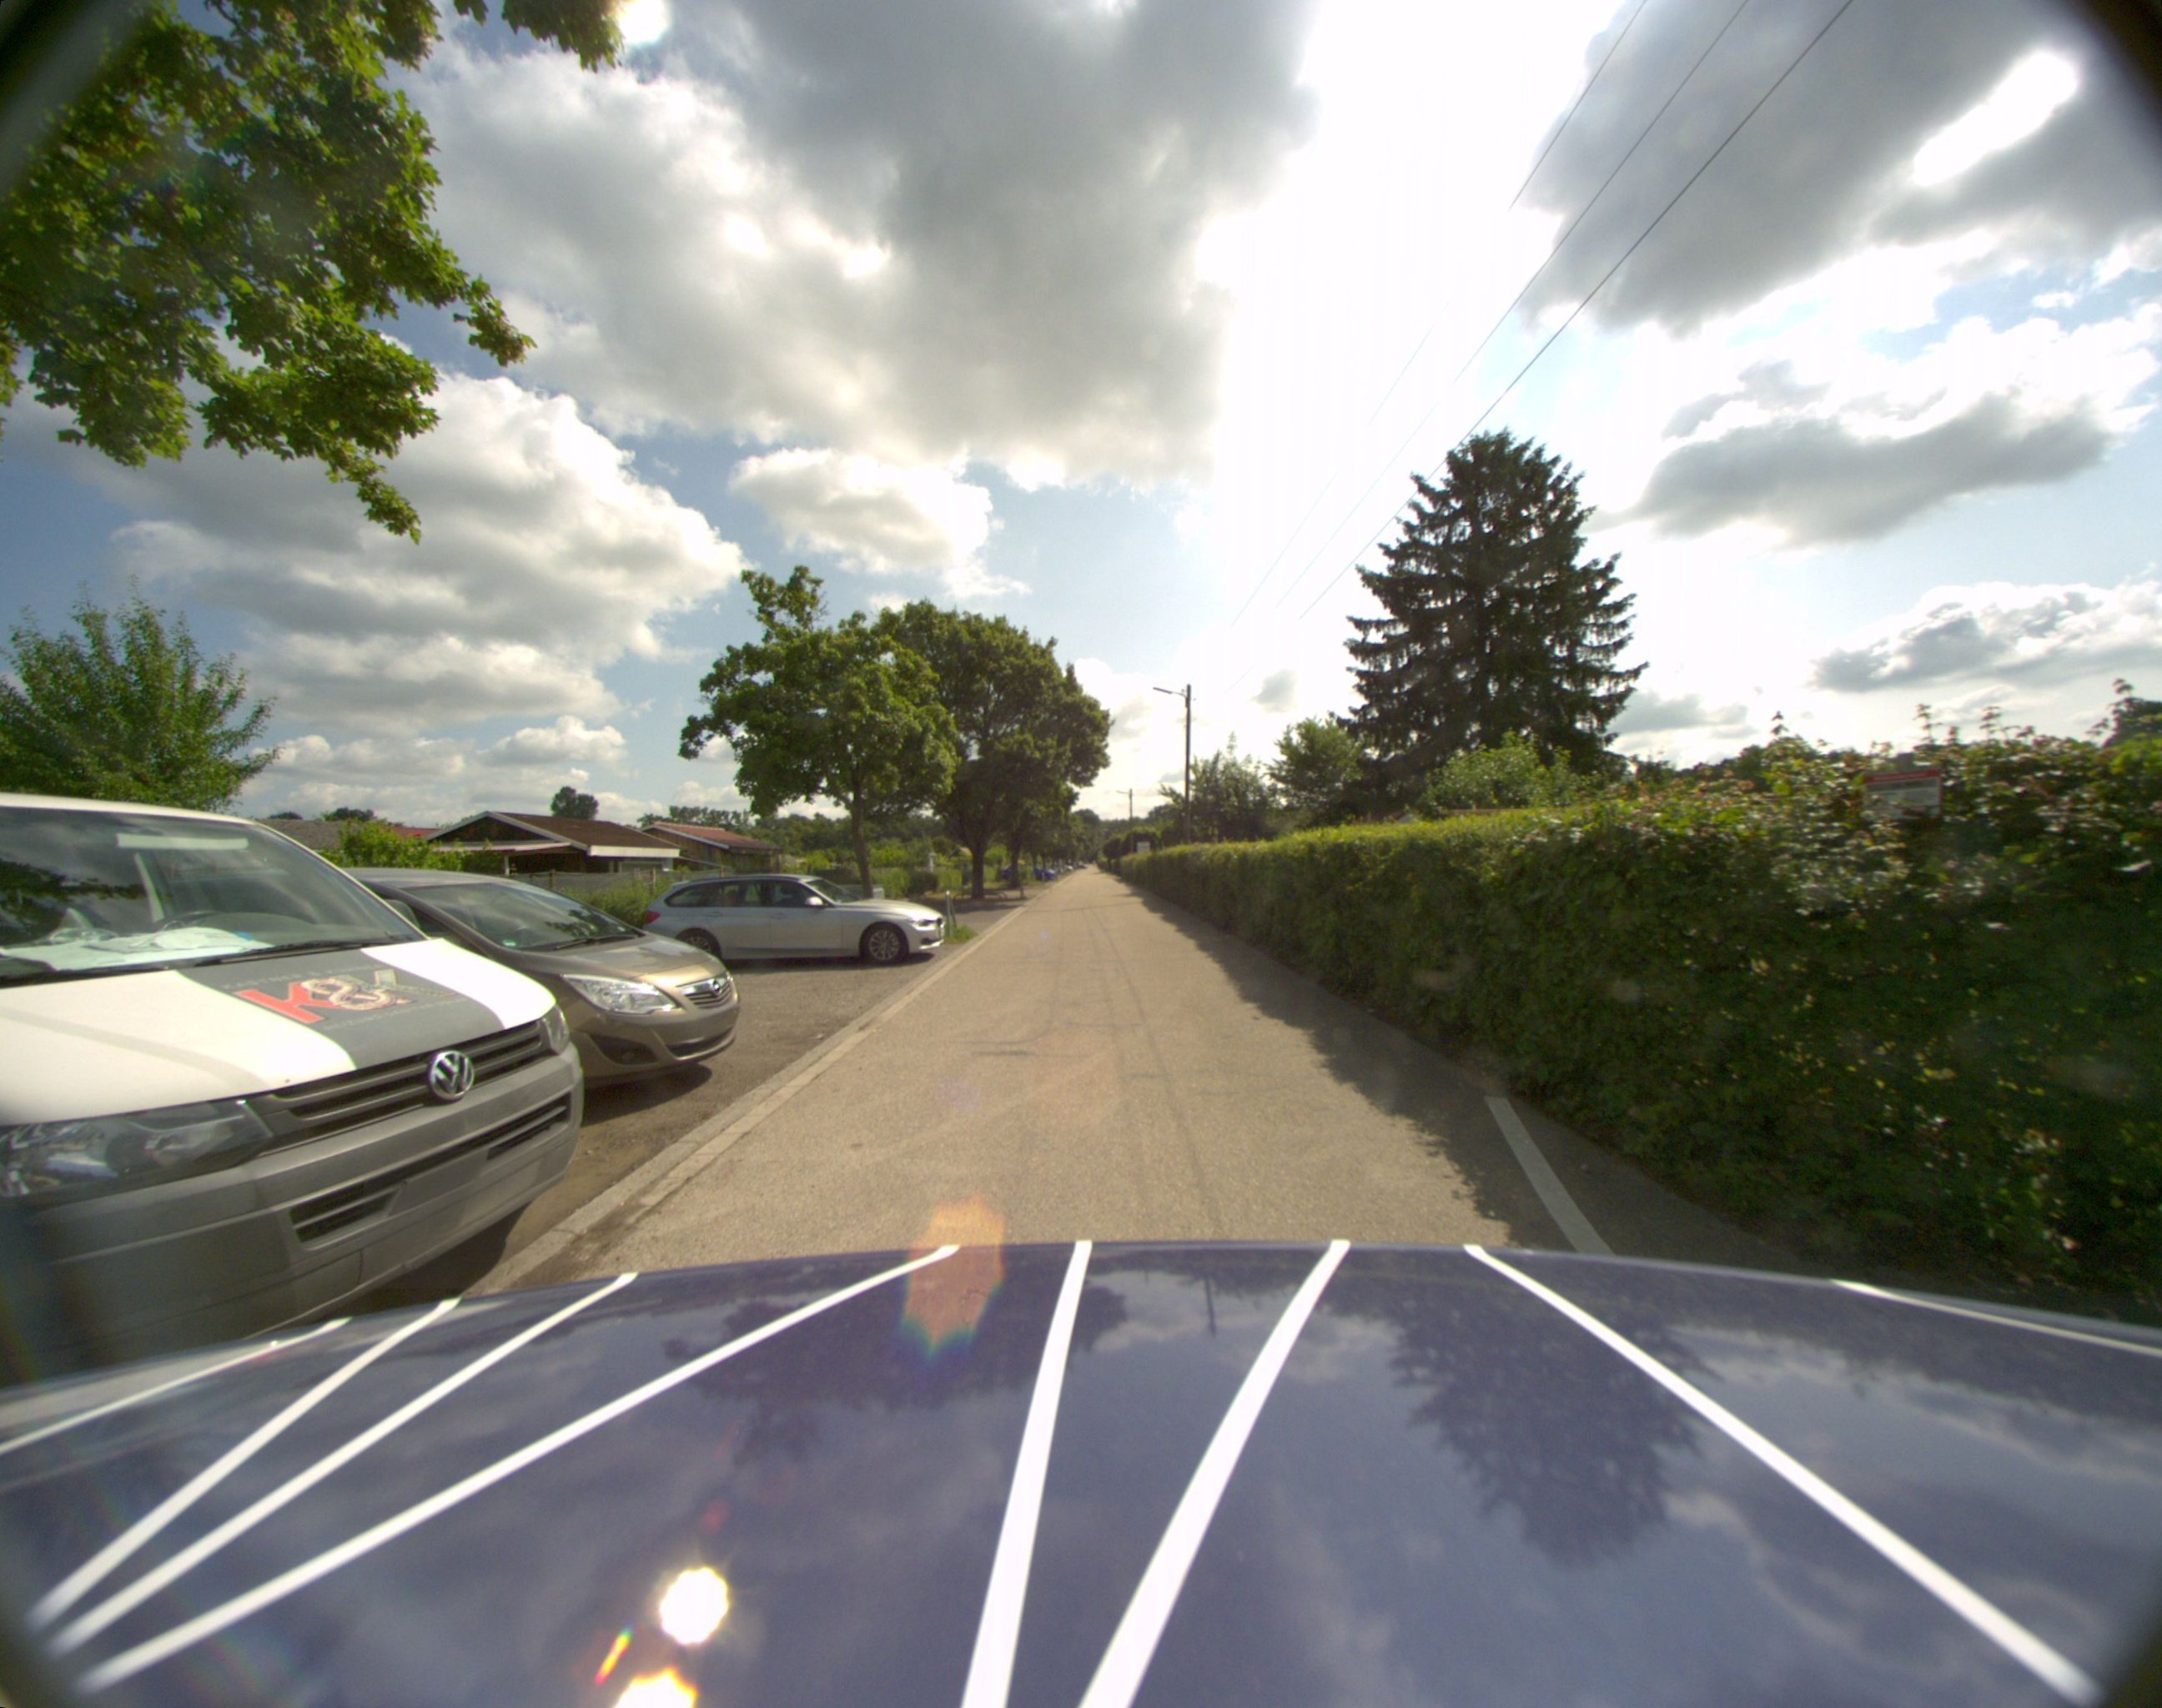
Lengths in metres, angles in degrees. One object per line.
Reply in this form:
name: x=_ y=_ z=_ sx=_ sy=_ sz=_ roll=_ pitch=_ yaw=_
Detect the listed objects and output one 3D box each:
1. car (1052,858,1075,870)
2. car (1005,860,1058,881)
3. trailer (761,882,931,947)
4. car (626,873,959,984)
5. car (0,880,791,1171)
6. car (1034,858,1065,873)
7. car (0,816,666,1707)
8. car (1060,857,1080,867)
car: x=-2.979 y=1.724 z=129.633 sx=3.929 sy=1.740 sz=2.000 roll=-3 pitch=0 yaw=0
car: x=-3.955 y=1.318 z=61.006 sx=4.116 sy=1.573 sz=1.781 roll=-1 pitch=0 yaw=-1
trailer: x=-5.166 y=1.317 z=17.033 sx=3.108 sy=1.136 sz=2.000 roll=-3 pitch=0 yaw=1
car: x=-4.422 y=1.126 z=12.286 sx=4.590 sy=1.457 sz=2.000 roll=-2 pitch=0 yaw=-2
car: x=-4.557 y=1.020 z=5.329 sx=4.254 sy=1.583 sz=2.000 roll=0 pitch=0 yaw=1
car: x=-4.198 y=1.545 z=101.029 sx=3.929 sy=1.740 sz=2.000 roll=-3 pitch=0 yaw=0
car: x=-4.327 y=0.884 z=2.579 sx=4.646 sy=1.875 sz=2.111 roll=0 pitch=0 yaw=-1
car: x=-2.264 y=1.640 z=157.911 sx=3.998 sy=1.824 sz=1.999 roll=-3 pitch=0 yaw=-3
